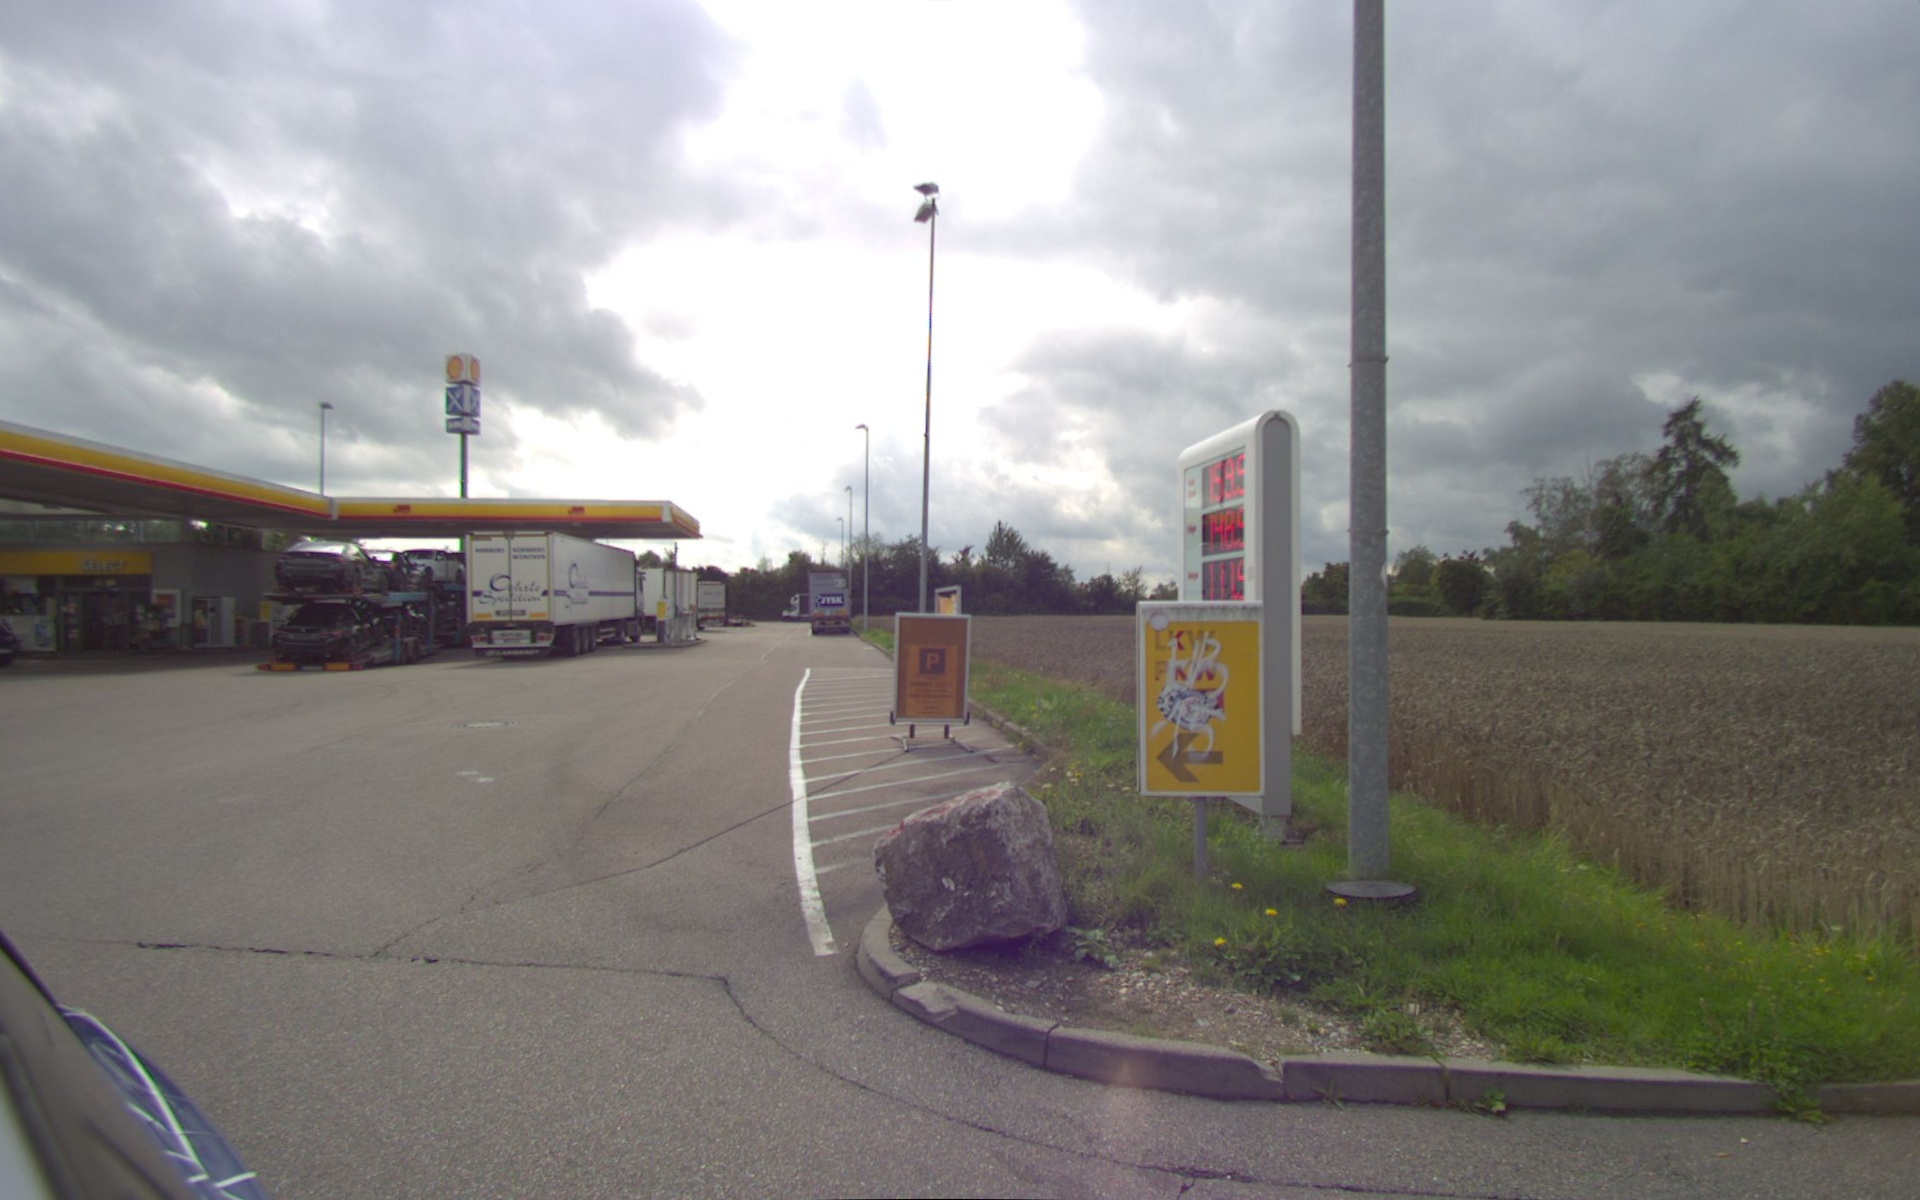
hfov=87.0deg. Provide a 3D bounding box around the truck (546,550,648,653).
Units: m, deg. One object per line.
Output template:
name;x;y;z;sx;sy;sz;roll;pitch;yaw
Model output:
truck;-15.469;0.099;43.635;2.670;4.055;7.181;-1;-1;-8

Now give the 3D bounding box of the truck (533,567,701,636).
truck;-23.024;0.138;67.138;14.728;4.144;2.925;0;-1;38

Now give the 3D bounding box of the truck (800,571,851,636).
truck;-8.982;0.299;68.969;2.781;3.923;15.479;0;-1;-5

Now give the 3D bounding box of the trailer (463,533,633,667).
trailer;-14.649;0.078;37.320;2.670;4.055;12.869;-1;-1;-8

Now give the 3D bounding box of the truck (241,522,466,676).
truck;-18.942;0.076;32.854;2.706;3.953;13.296;1;-1;-15

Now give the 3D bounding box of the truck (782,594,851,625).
truck;-17.624;1.180;124.810;7.958;3.684;2.819;0;-1;6

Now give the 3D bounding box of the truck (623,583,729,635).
truck;-24.288;0.810;86.065;11.571;4.142;2.953;-1;-1;42

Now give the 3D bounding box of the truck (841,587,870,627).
truck;-10.862;0.742;105.605;2.781;3.923;12.824;0;-1;-5

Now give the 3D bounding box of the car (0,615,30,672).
car;-29.563;1.281;29.163;3.699;1.613;1.721;-1;-1;-13
